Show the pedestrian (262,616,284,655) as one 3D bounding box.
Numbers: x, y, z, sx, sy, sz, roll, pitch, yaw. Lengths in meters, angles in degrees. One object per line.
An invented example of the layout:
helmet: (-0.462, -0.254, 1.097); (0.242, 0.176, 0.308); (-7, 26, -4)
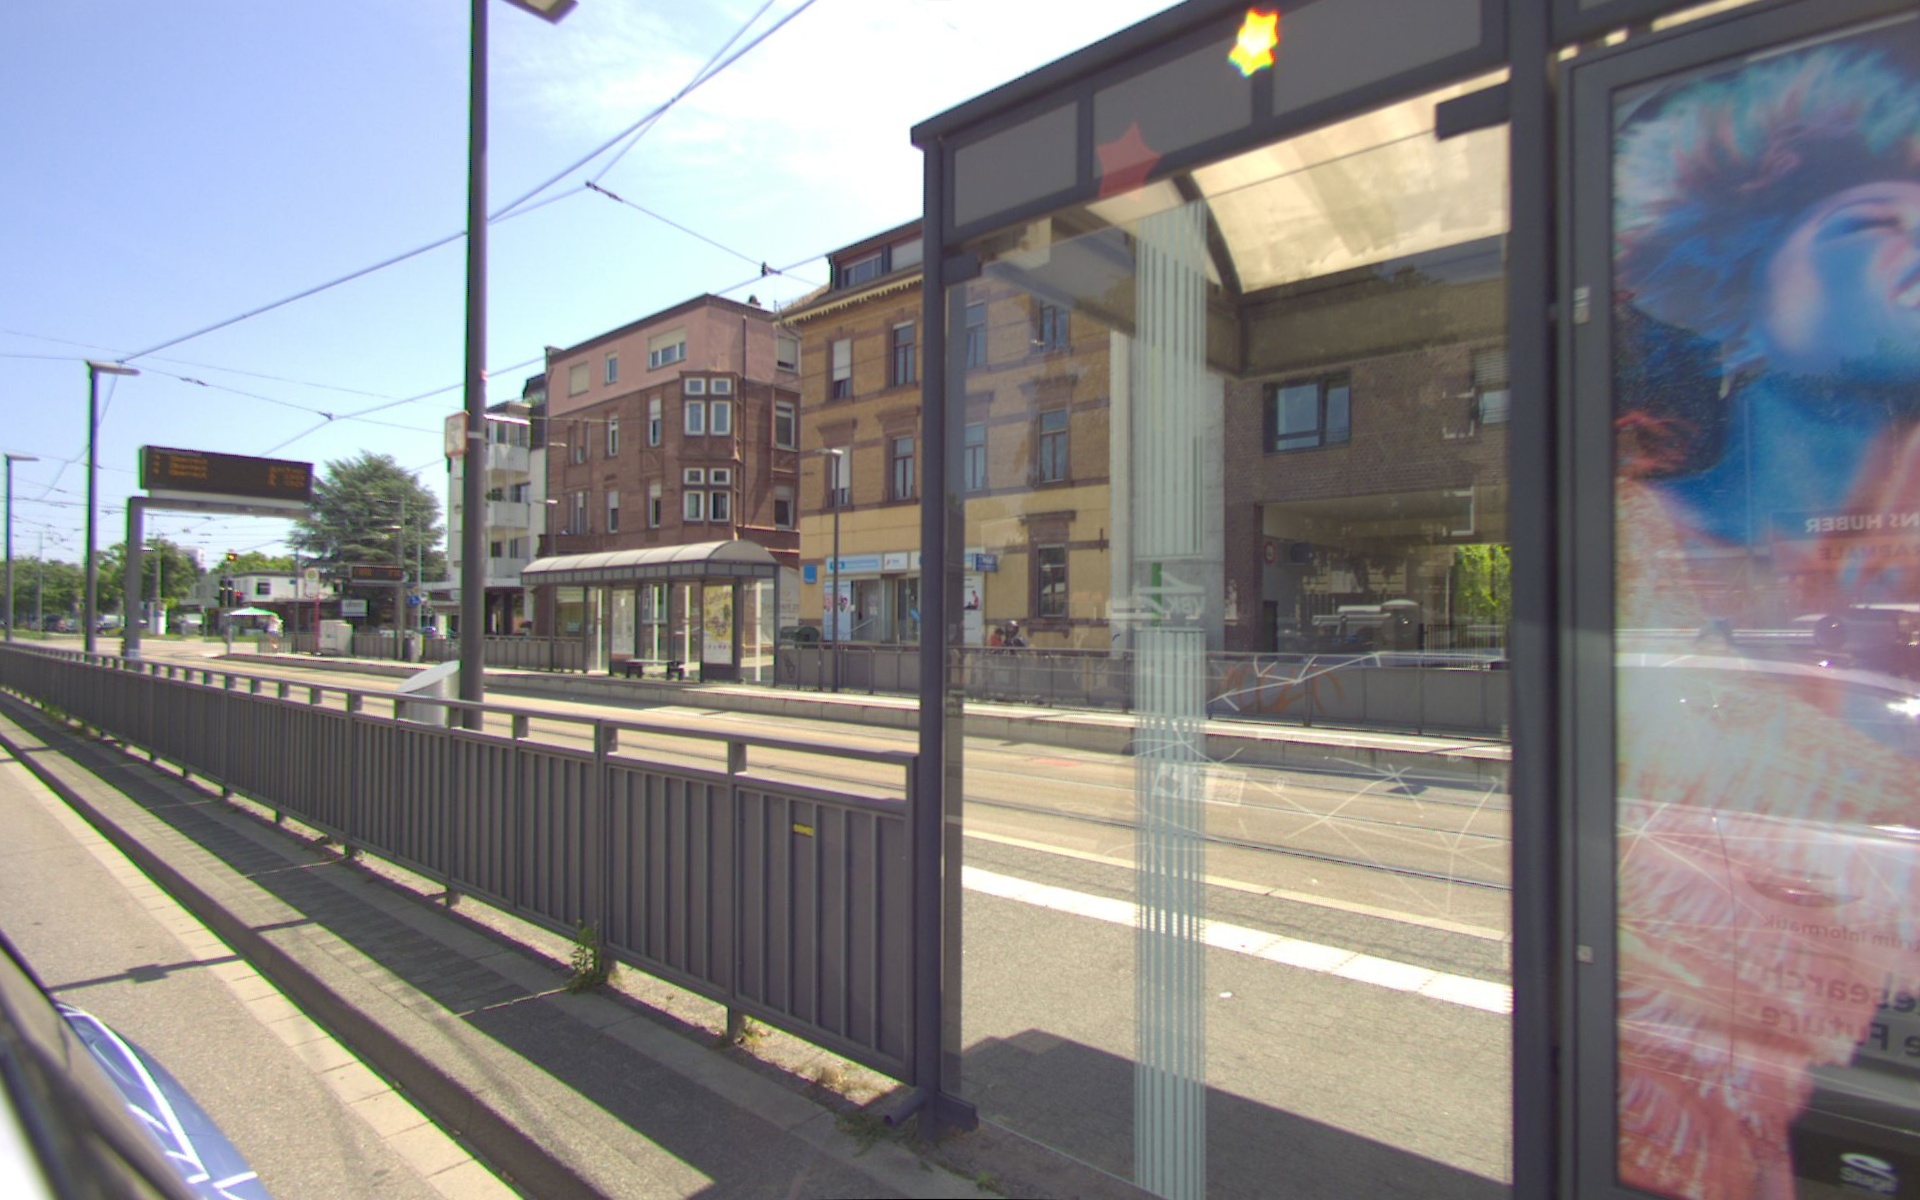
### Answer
pedestrian: (-28.886, 1.500, 42.544); (0.676, 1.637, 0.589); (-1, -3, 43)

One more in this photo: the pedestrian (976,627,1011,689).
pedestrian: (0.871, 1.503, 26.496); (0.714, 1.608, 0.597); (-1, -2, 40)
